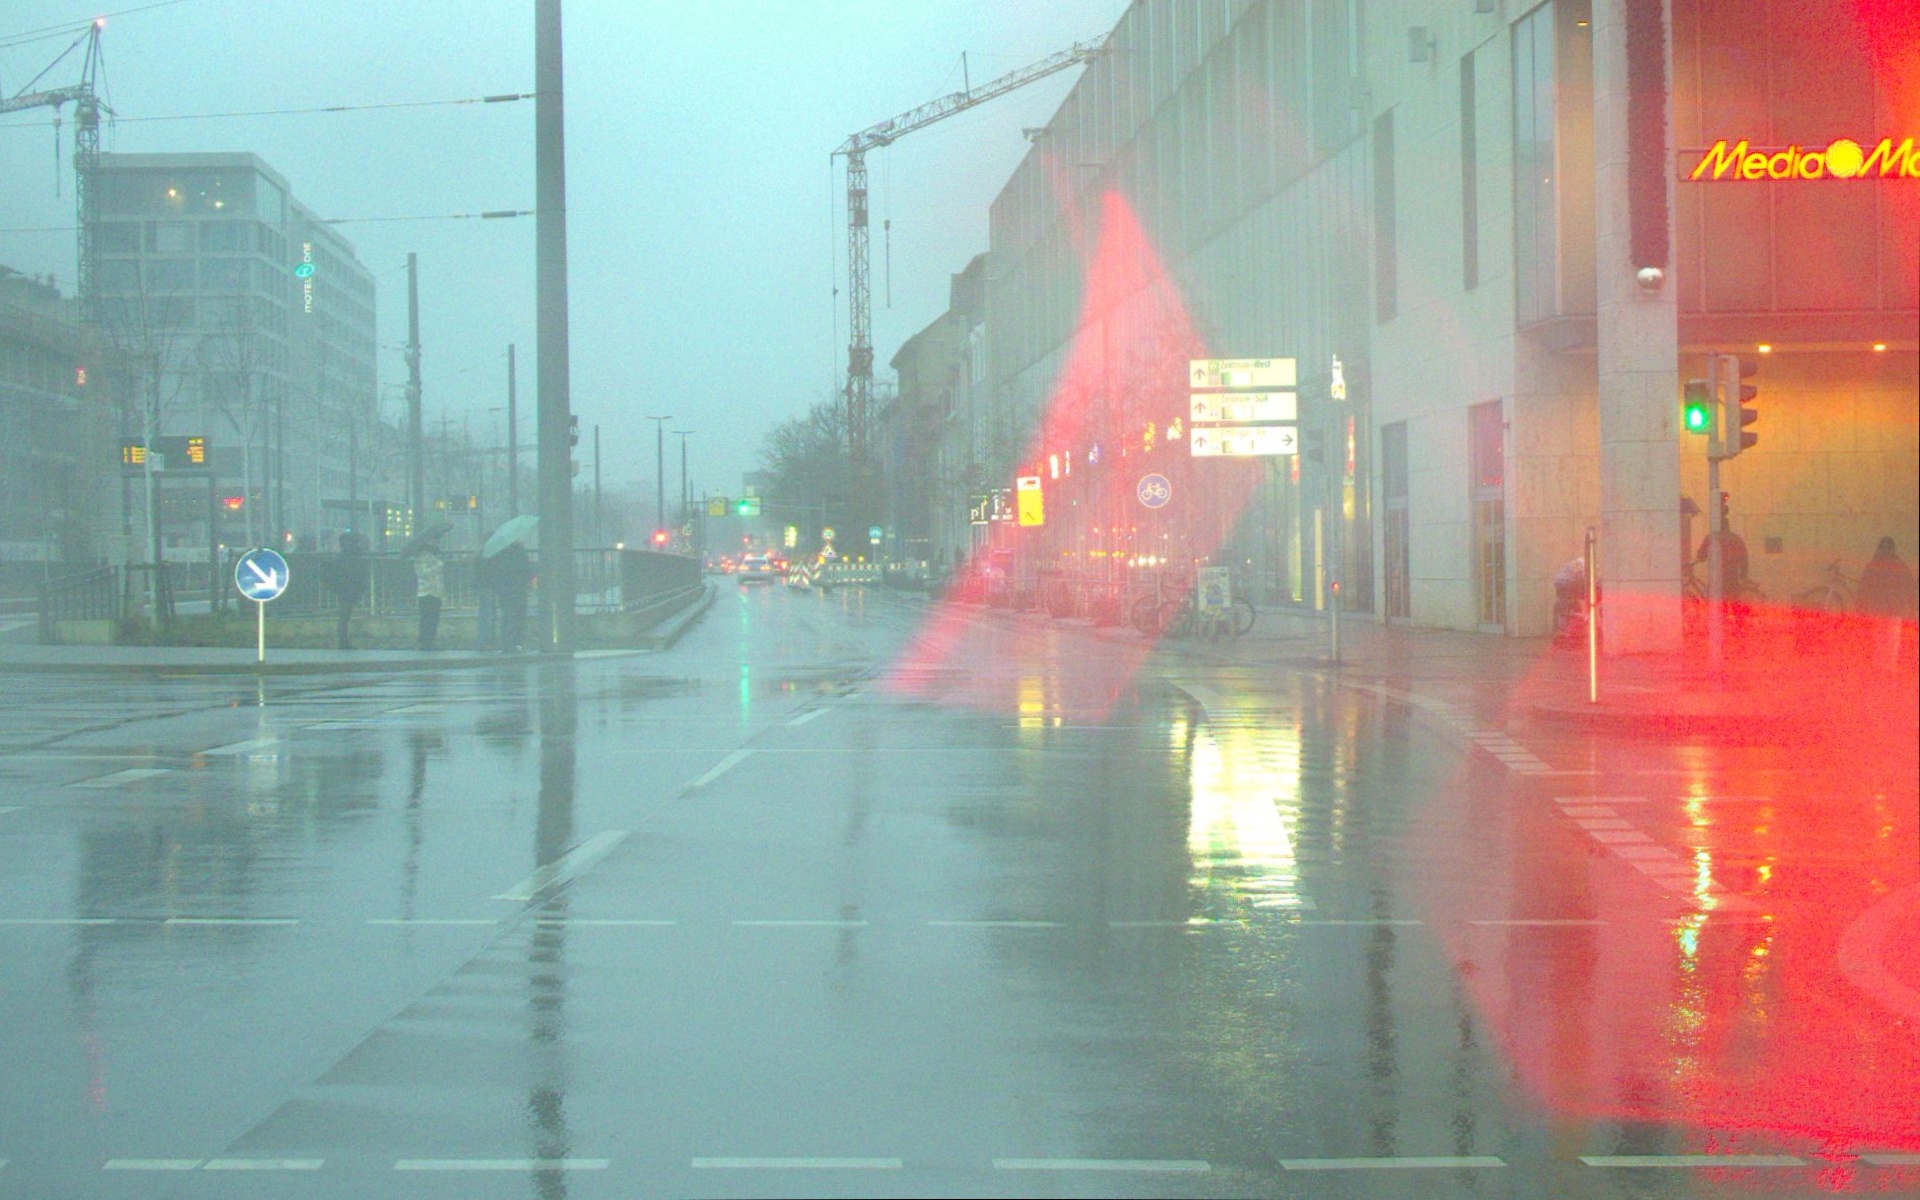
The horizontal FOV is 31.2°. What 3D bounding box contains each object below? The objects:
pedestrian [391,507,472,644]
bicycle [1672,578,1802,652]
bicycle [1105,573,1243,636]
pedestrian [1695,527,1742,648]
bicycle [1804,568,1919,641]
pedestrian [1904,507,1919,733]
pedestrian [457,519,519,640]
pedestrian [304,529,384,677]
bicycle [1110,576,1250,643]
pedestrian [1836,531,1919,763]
[{"bbox_3d":[-7.149,-0.334,46.491,0.821,1.825,0.786,1,0,-31],"label":"pedestrian"},{"bbox_3d":[11.455,0.219,50.700,1.767,1.066,0.525,1,0,-6],"label":"bicycle"},{"bbox_3d":[3.882,0.078,62.341,2.425,1.095,0.712,-1,0,-2],"label":"bicycle"},{"bbox_3d":[11.047,-0.185,50.052,0.600,1.739,0.524,1,0,8],"label":"pedestrian"},{"bbox_3d":[13.379,0.065,50.834,1.646,1.066,0.525,1,0,-4],"label":"bicycle"},{"bbox_3d":[10.671,0.217,37.153,0.689,2.433,0.758,1,0,-1],"label":"pedestrian"},{"bbox_3d":[-6.593,-0.289,47.976,0.612,1.680,0.577,1,1,42],"label":"pedestrian"},{"bbox_3d":[-8.498,0.038,47.426,0.785,2.007,0.726,1,1,42],"label":"pedestrian"},{"bbox_3d":[3.935,0.171,61.573,2.442,1.150,0.674,-1,0,-1],"label":"bicycle"},{"bbox_3d":[9.788,0.488,36.545,0.714,2.433,0.758,1,0,-1],"label":"pedestrian"}]
